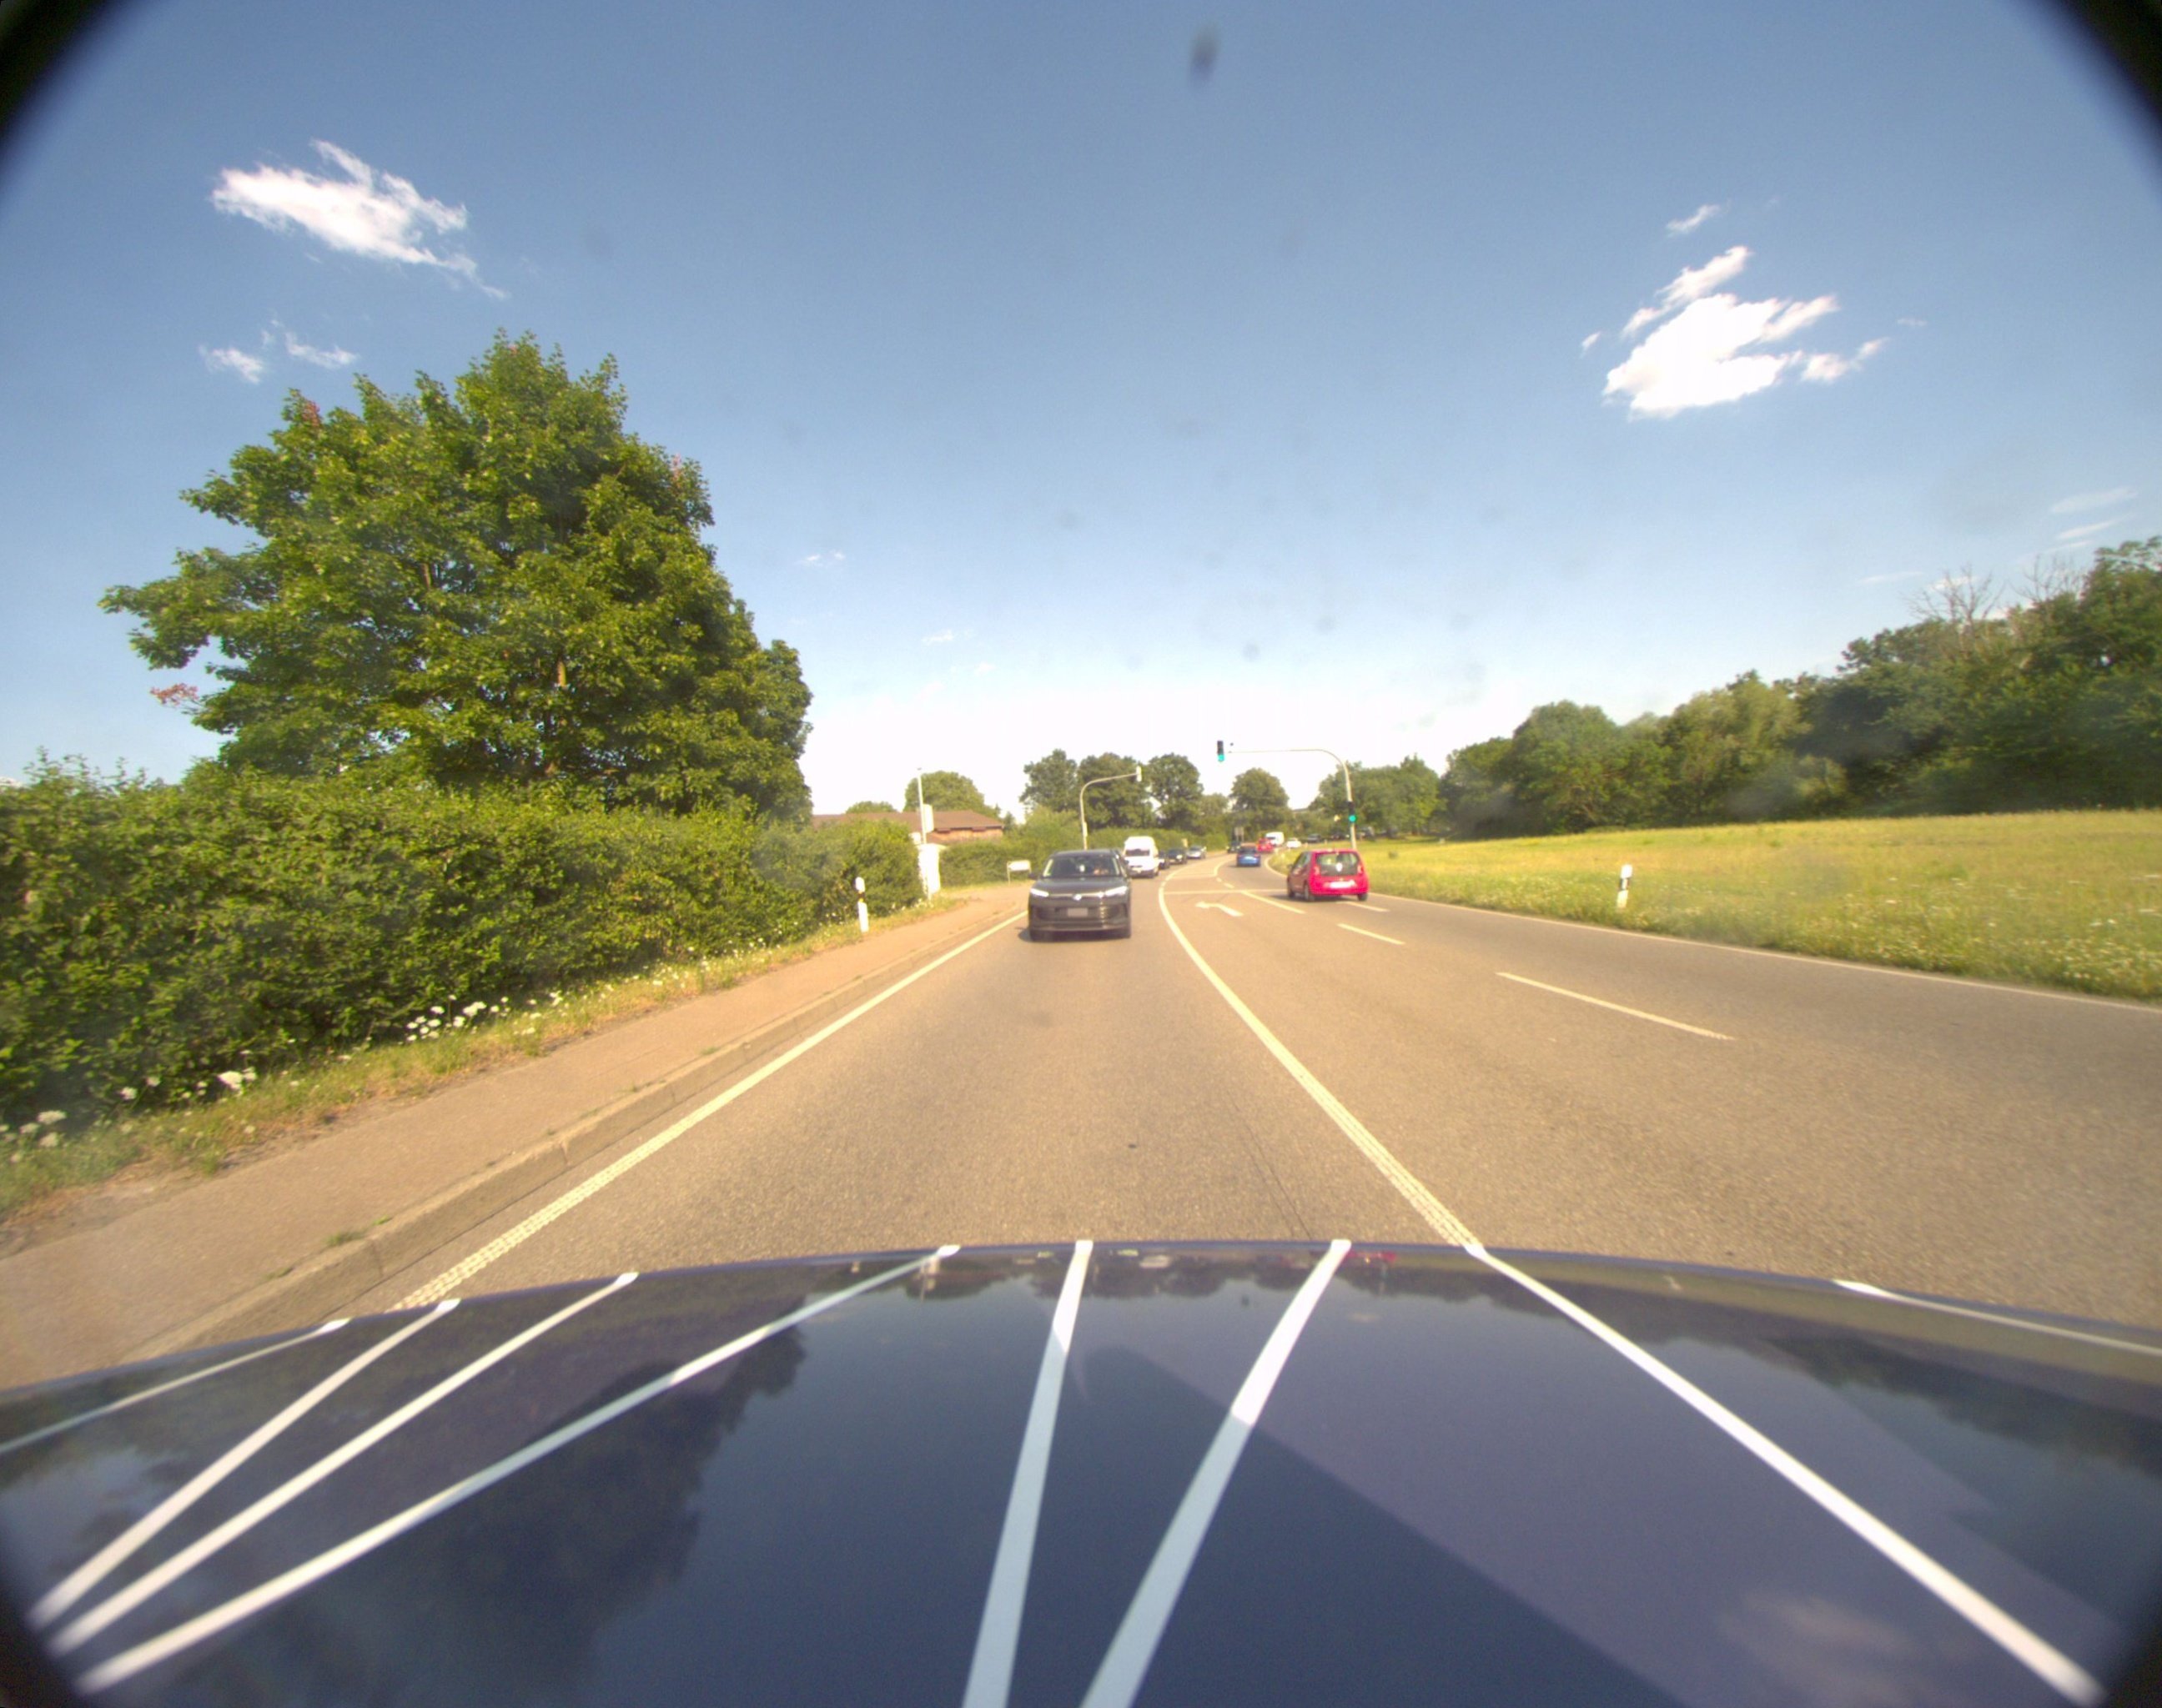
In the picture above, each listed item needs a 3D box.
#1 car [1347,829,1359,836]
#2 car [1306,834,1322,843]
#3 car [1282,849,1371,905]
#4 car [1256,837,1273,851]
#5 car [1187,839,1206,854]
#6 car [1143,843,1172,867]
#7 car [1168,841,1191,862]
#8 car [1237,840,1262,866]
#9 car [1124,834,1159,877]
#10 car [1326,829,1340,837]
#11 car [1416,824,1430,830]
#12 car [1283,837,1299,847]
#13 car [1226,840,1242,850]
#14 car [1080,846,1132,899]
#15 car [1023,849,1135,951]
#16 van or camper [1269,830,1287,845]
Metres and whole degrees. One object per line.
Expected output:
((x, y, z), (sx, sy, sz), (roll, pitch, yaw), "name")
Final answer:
((59.436, -4.605, 166.174), (1.747, 1.458, 3.485), (0, 2, 31), "car")
((47.904, -3.148, 156.308), (1.995, 1.543, 4.007), (-4, 0, 34), "car")
((7.001, 0.611, 22.005), (1.589, 1.458, 3.608), (-1, 0, 4), "car")
((23.753, -1.277, 98.072), (1.883, 1.765, 4.327), (-1, 0, 17), "car")
((12.530, -0.819, 82.555), (1.633, 1.550, 3.420), (-1, 2, 16), "car")
((5.764, 0.060, 57.057), (1.692, 1.718, 3.671), (-1, 1, 13), "car")
((8.738, -0.265, 67.323), (1.672, 1.718, 3.671), (-1, 2, 13), "car")
((12.813, -0.112, 57.972), (1.727, 1.871, 4.339), (-1, 0, 11), "car")
((3.527, 0.020, 43.713), (1.843, 2.338, 4.790), (-1, 1, 6), "car")
((56.305, -4.607, 169.785), (1.995, 1.543, 4.006), (-4, 0, 34), "car")
((87.135, -6.883, 193.586), (4.081, 1.577, 1.928), (-3, 2, -42), "car")
((34.644, -2.028, 125.252), (1.882, 1.577, 4.337), (-1, 0, 23), "car")
((21.417, -1.273, 106.273), (1.605, 1.471, 3.621), (0, 1, 20), "car")
((0.951, 0.597, 26.927), (1.659, 1.720, 3.805), (-1, 0, 4), "car")
((0.059, 0.768, 14.922), (1.865, 1.633, 4.000), (-1, 1, 3), "car")
((34.251, -2.876, 131.821), (2.031, 2.461, 5.084), (-4, 0, 25), "van or camper")
